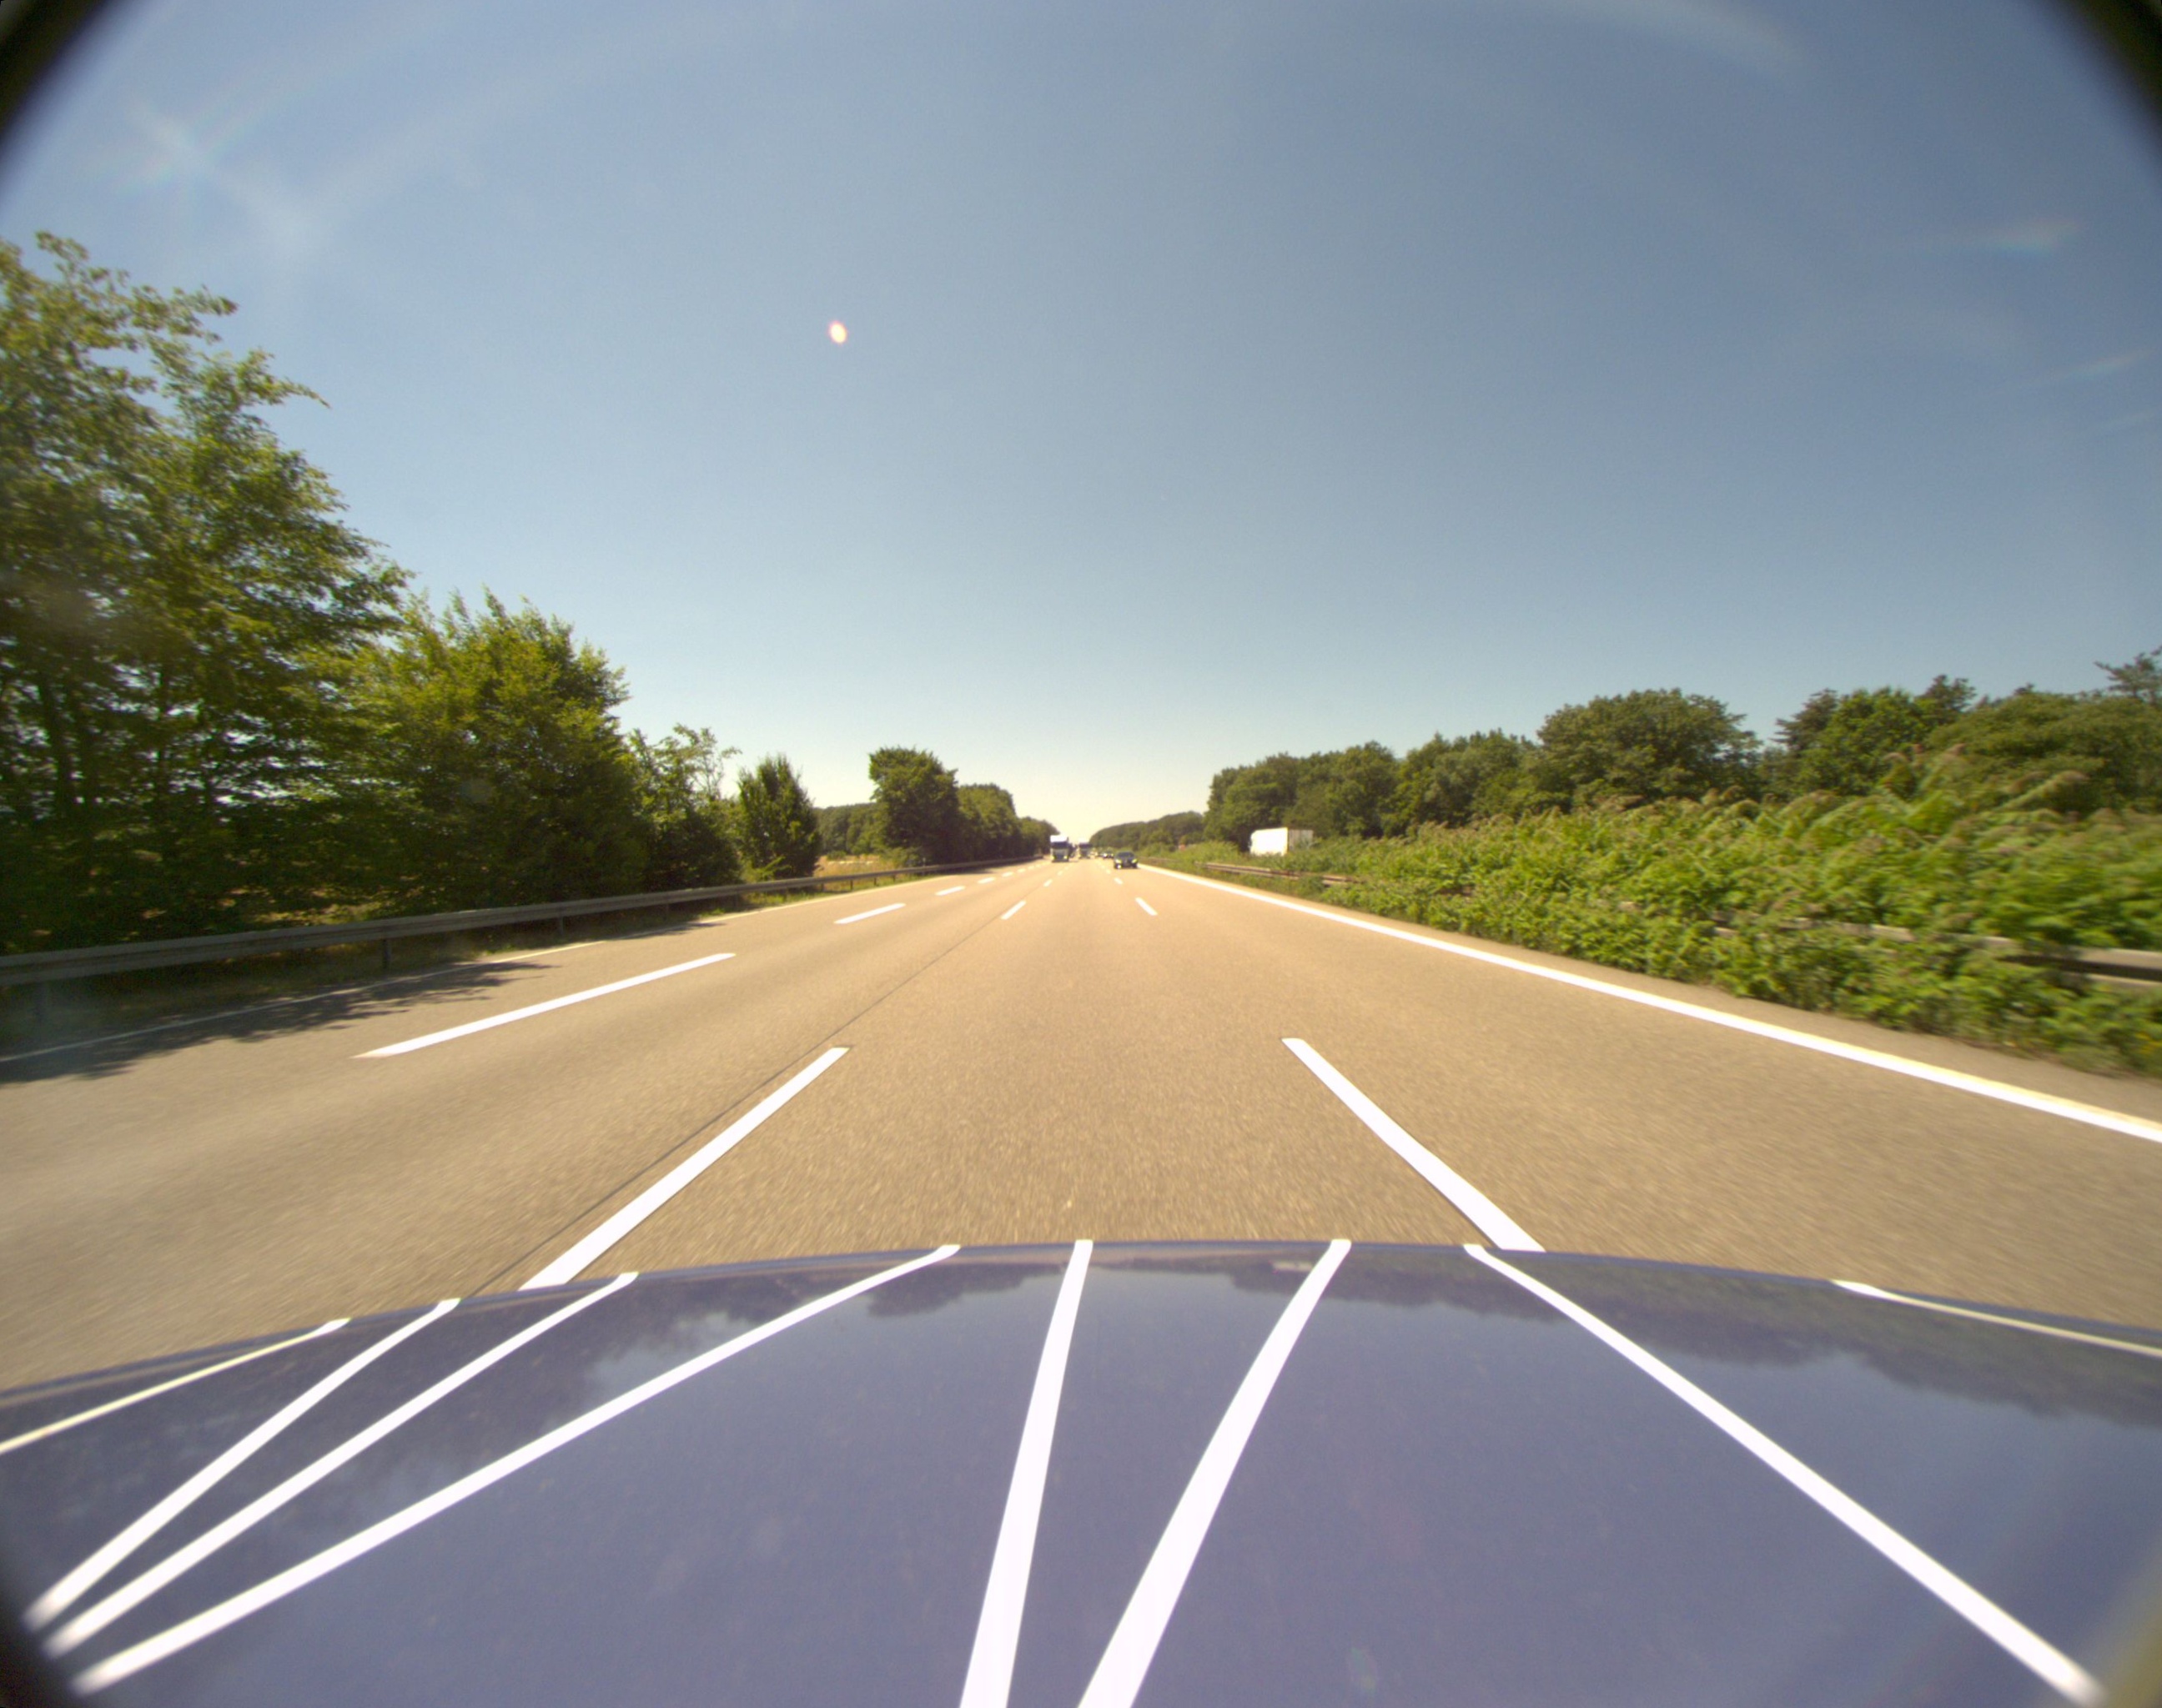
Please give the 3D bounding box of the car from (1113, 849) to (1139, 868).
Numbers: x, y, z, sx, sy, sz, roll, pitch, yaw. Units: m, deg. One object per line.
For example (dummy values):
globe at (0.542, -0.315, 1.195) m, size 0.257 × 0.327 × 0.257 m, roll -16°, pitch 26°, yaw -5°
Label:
car at (3.728, 0.397, 63.494) m, size 1.811 × 1.399 × 4.000 m, roll -3°, pitch -1°, yaw -1°

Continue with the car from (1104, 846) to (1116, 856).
car at (5.051, -0.503, 132.742) m, size 1.806 × 1.774 × 3.999 m, roll -1°, pitch 1°, yaw 0°

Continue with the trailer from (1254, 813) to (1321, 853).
trailer at (21.511, -2.097, 80.272) m, size 3.187 × 3.677 × 14.381 m, roll -2°, pitch 1°, yaw 1°

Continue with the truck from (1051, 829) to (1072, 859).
truck at (-2.947, -1.509, 116.136) m, size 2.864 × 4.247 × 6.862 m, roll -2°, pitch 1°, yaw -1°

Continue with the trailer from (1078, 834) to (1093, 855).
trailer at (0.945, -2.049, 163.225) m, size 2.863 × 4.247 × 11.470 m, roll -2°, pitch 1°, yaw 0°

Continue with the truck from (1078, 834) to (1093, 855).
truck at (0.974, -1.988, 156.603) m, size 2.863 × 4.247 × 5.410 m, roll -2°, pitch 1°, yaw 0°

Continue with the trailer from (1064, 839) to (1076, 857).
trailer at (-2.785, -1.578, 189.439) m, size 2.864 × 4.247 × 11.469 m, roll -2°, pitch 1°, yaw -1°

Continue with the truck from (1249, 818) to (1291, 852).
truck at (21.573, -2.163, 87.063) m, size 3.187 × 3.677 × 6.035 m, roll -2°, pitch 1°, yaw 1°

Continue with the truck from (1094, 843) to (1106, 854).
truck at (4.617, -1.311, 182.445) m, size 2.576 × 2.461 × 5.614 m, roll -2°, pitch 1°, yaw 0°
